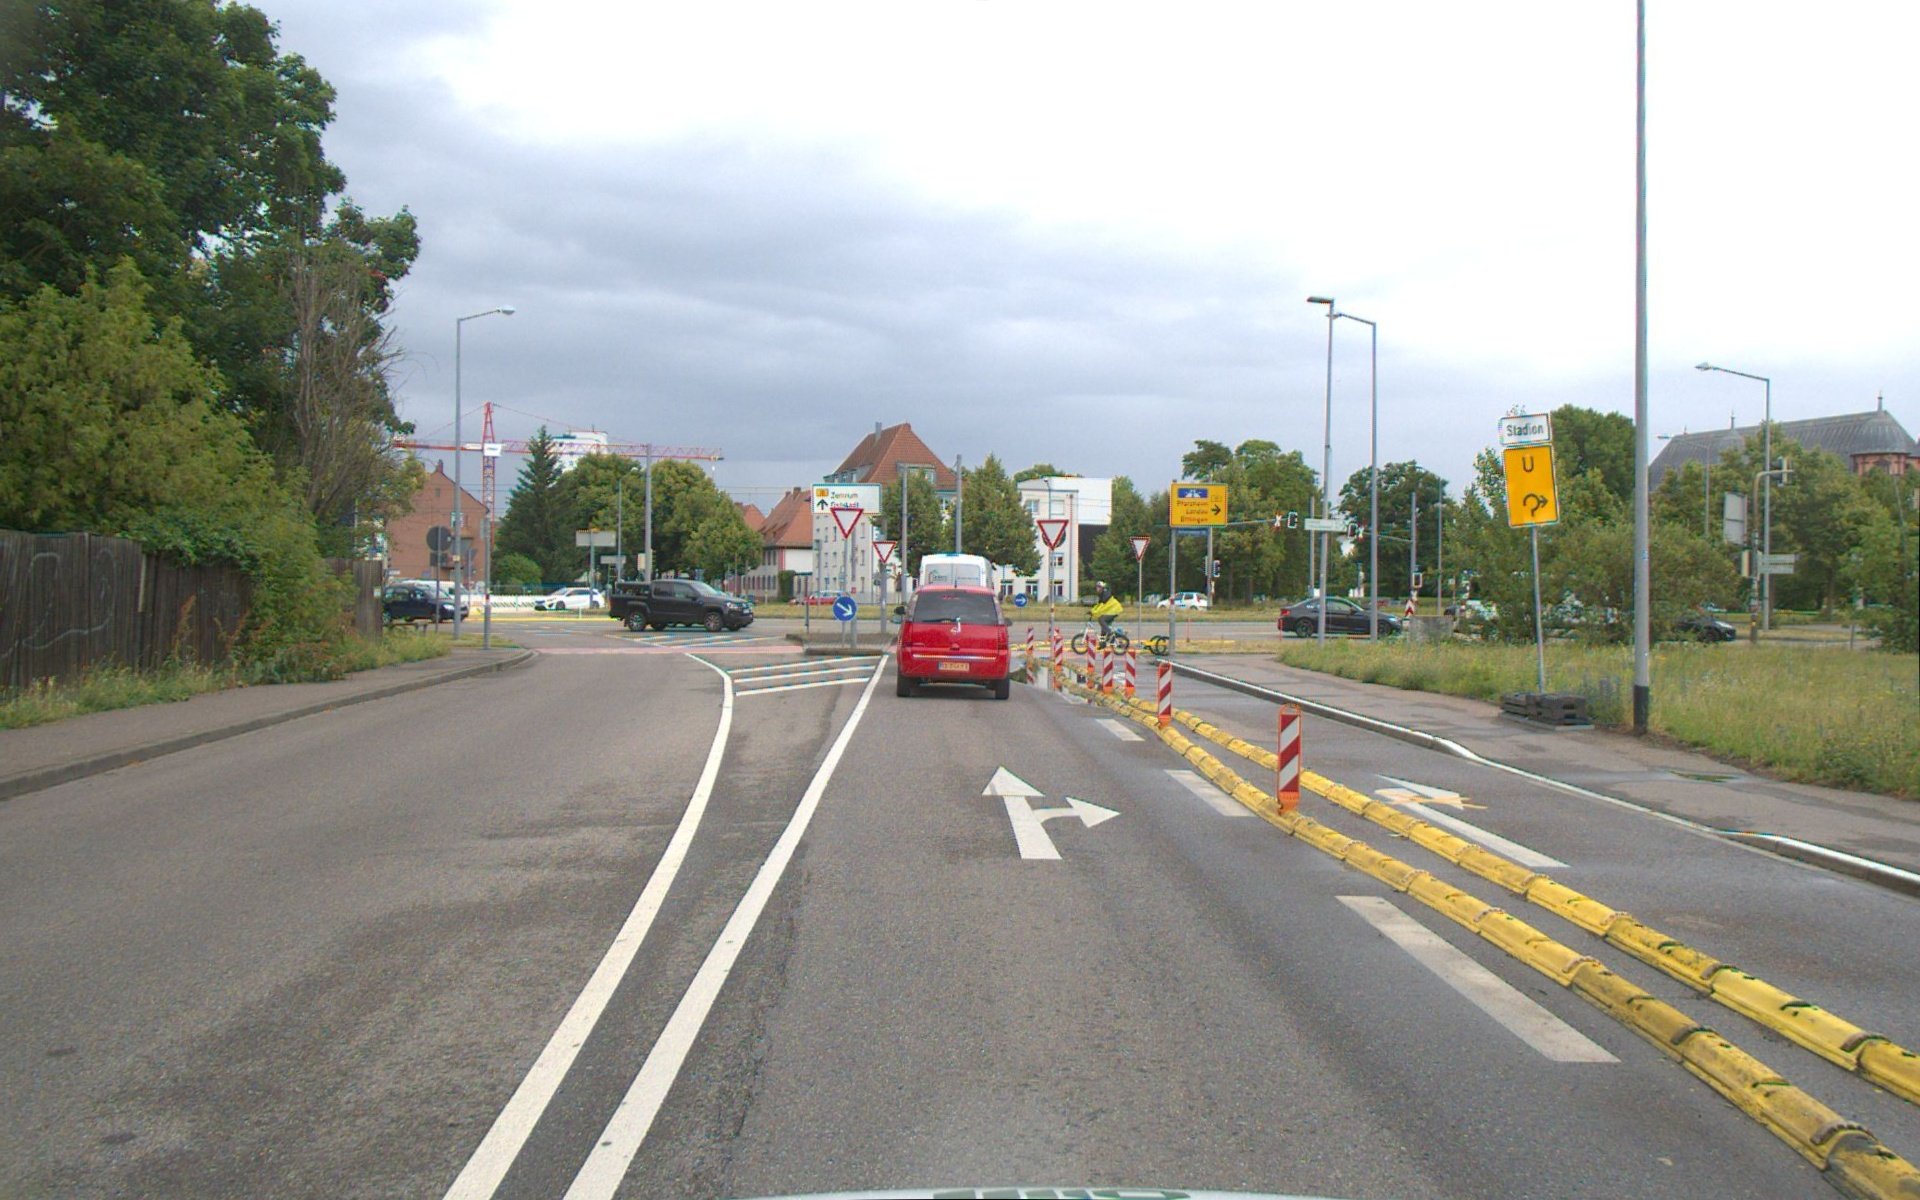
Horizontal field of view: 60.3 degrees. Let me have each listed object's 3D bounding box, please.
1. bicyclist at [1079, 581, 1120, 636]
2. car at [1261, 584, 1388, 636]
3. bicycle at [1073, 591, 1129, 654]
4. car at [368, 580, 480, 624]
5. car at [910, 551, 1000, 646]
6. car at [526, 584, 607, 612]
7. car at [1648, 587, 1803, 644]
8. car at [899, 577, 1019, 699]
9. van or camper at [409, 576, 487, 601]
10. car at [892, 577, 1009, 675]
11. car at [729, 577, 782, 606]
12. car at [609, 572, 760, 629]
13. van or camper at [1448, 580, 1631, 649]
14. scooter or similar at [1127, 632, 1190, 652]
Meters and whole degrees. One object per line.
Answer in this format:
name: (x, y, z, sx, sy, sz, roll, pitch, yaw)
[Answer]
bicyclist: (3.674, 0.226, 43.495, 1.040, 1.426, 0.615, 0, 0, 1)
car: (12.906, 0.335, 58.766, 4.267, 1.780, 2.002, 0, 0, 9)
bicycle: (3.697, 0.578, 43.496, 1.446, 1.640, 0.606, 0, 0, 1)
car: (-23.152, 0.088, 71.527, 4.105, 1.845, 2.080, 0, 0, 10)
car: (-0.077, -0.041, 48.461, 2.149, 2.584, 4.965, 1, 0, 5)
car: (-23.661, -0.138, 99.543, 1.959, 1.663, 4.659, 0, 0, 35)
car: (25.537, 0.493, 55.223, 4.509, 1.827, 2.111, 0, 0, 31)
car: (-0.048, 0.518, 24.997, 1.639, 1.669, 3.626, 1, 0, -1)
van or camper: (-43.376, -0.956, 140.198, 6.045, 2.049, 2.002, 0, 0, 10)
car: (-0.208, 0.451, 31.571, 2.018, 1.676, 4.606, 2, 0, -1)
car: (-16.369, -0.681, 132.511, 3.909, 1.881, 1.998, -4, -3, -4)
car: (-9.934, 0.014, 59.696, 4.919, 2.006, 2.225, 0, 0, 16)
van or camper: (18.730, 0.449, 53.713, 5.416, 2.152, 2.002, 0, 0, 14)
scooter or similar: (5.228, 1.106, 43.575, 1.574, 0.513, 0.925, 0, 0, 2)
